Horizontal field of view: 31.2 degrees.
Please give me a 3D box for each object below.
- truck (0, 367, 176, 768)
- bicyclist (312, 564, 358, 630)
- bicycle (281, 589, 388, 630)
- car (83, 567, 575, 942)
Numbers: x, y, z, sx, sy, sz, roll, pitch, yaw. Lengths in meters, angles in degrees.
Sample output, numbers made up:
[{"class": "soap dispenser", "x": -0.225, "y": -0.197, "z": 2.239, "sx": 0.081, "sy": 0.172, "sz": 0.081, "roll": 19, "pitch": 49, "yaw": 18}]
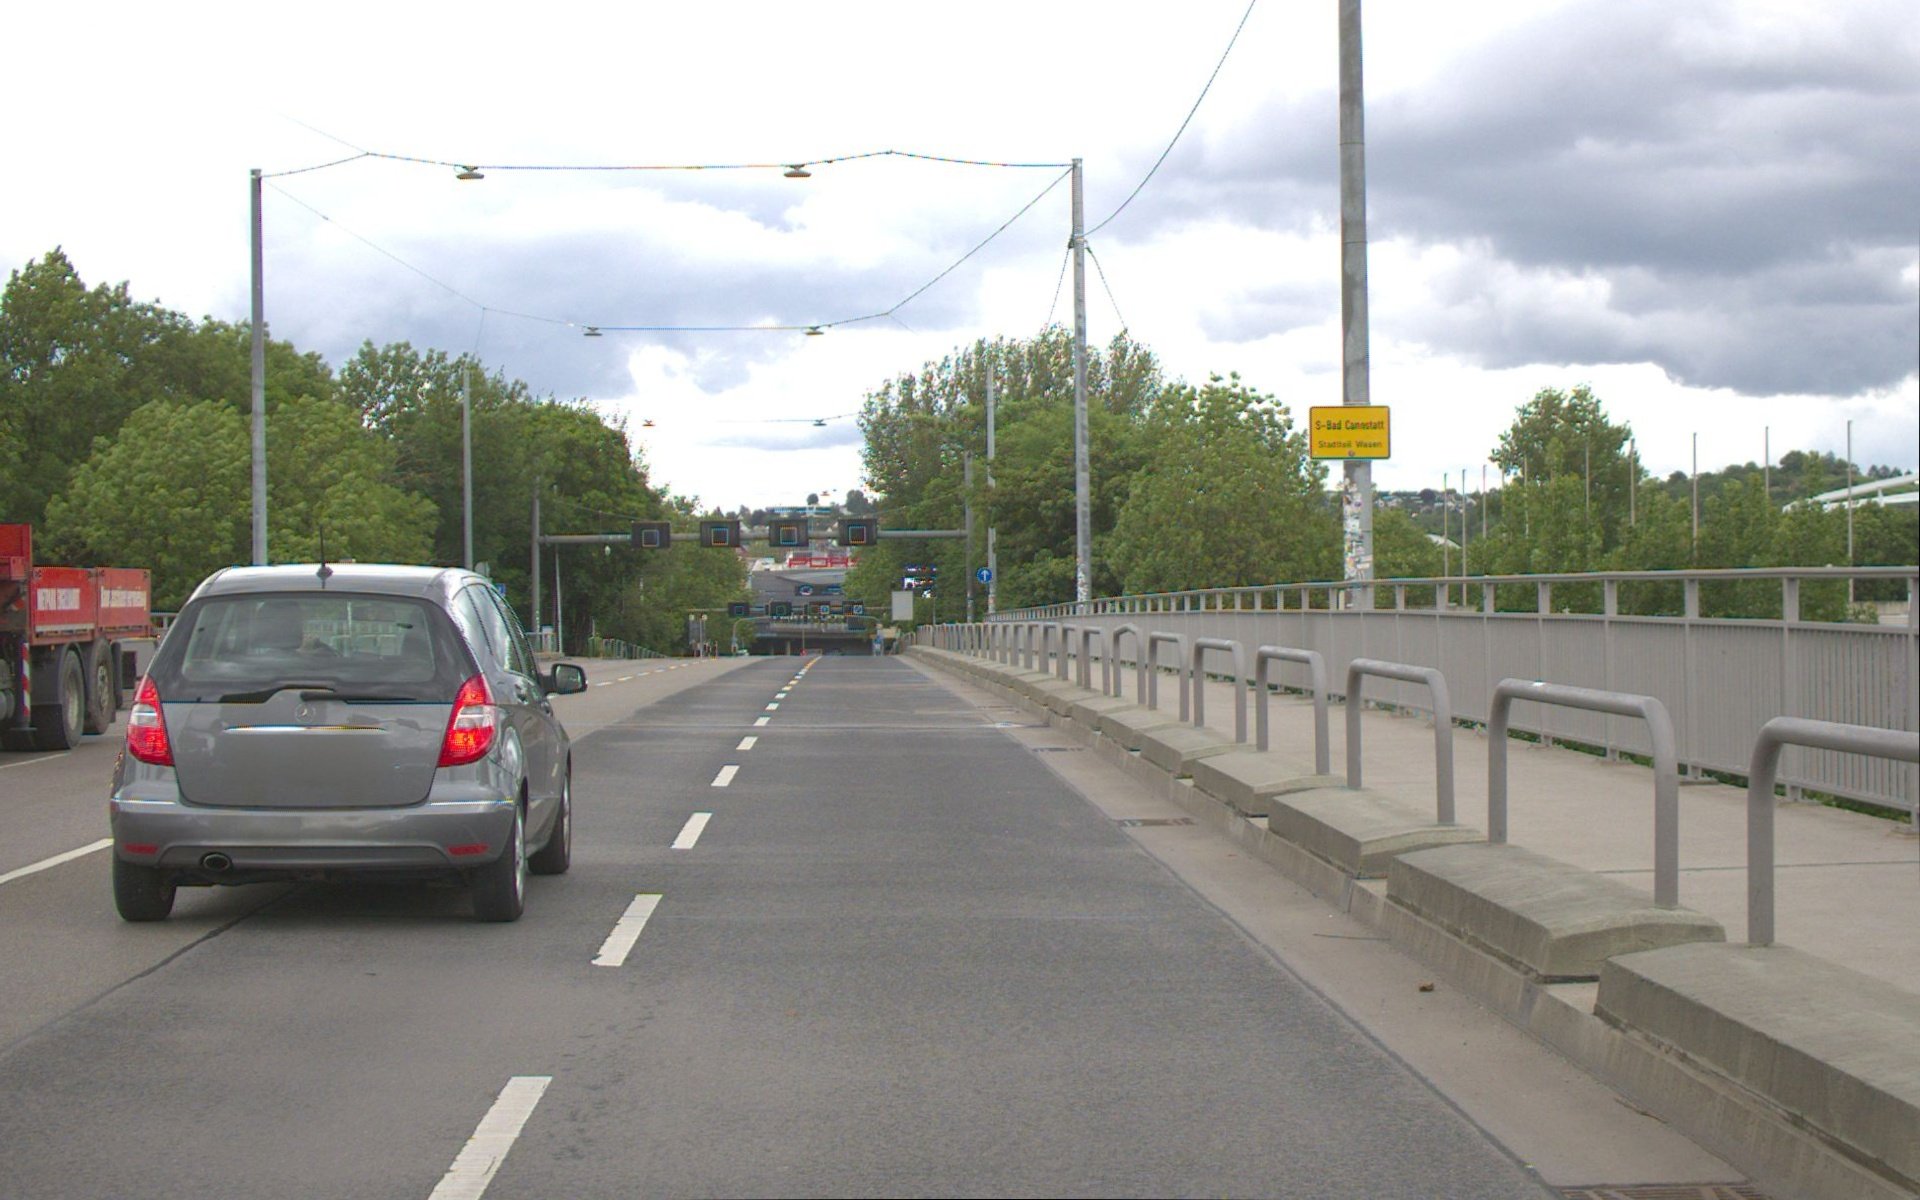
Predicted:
[{"class": "truck", "x": -10.064, "y": -0.212, "z": 33.061, "sx": 3.005, "sy": 3.554, "sz": 9.982, "roll": -2, "pitch": -1, "yaw": -2}, {"class": "bicyclist", "x": -16.845, "y": -0.082, "z": 92.669, "sx": 1.132, "sy": 1.758, "sz": 0.905, "roll": -1, "pitch": -1, "yaw": -7}, {"class": "bicycle", "x": -16.851, "y": 0.253, "z": 92.657, "sx": 2.790, "sy": 1.047, "sz": 0.921, "roll": -1, "pitch": -1, "yaw": -7}, {"class": "car", "x": -2.837, "y": 0.664, "z": 16.227, "sx": 1.745, "sy": 1.545, "sz": 3.871, "roll": 0, "pitch": -1, "yaw": -2}]
